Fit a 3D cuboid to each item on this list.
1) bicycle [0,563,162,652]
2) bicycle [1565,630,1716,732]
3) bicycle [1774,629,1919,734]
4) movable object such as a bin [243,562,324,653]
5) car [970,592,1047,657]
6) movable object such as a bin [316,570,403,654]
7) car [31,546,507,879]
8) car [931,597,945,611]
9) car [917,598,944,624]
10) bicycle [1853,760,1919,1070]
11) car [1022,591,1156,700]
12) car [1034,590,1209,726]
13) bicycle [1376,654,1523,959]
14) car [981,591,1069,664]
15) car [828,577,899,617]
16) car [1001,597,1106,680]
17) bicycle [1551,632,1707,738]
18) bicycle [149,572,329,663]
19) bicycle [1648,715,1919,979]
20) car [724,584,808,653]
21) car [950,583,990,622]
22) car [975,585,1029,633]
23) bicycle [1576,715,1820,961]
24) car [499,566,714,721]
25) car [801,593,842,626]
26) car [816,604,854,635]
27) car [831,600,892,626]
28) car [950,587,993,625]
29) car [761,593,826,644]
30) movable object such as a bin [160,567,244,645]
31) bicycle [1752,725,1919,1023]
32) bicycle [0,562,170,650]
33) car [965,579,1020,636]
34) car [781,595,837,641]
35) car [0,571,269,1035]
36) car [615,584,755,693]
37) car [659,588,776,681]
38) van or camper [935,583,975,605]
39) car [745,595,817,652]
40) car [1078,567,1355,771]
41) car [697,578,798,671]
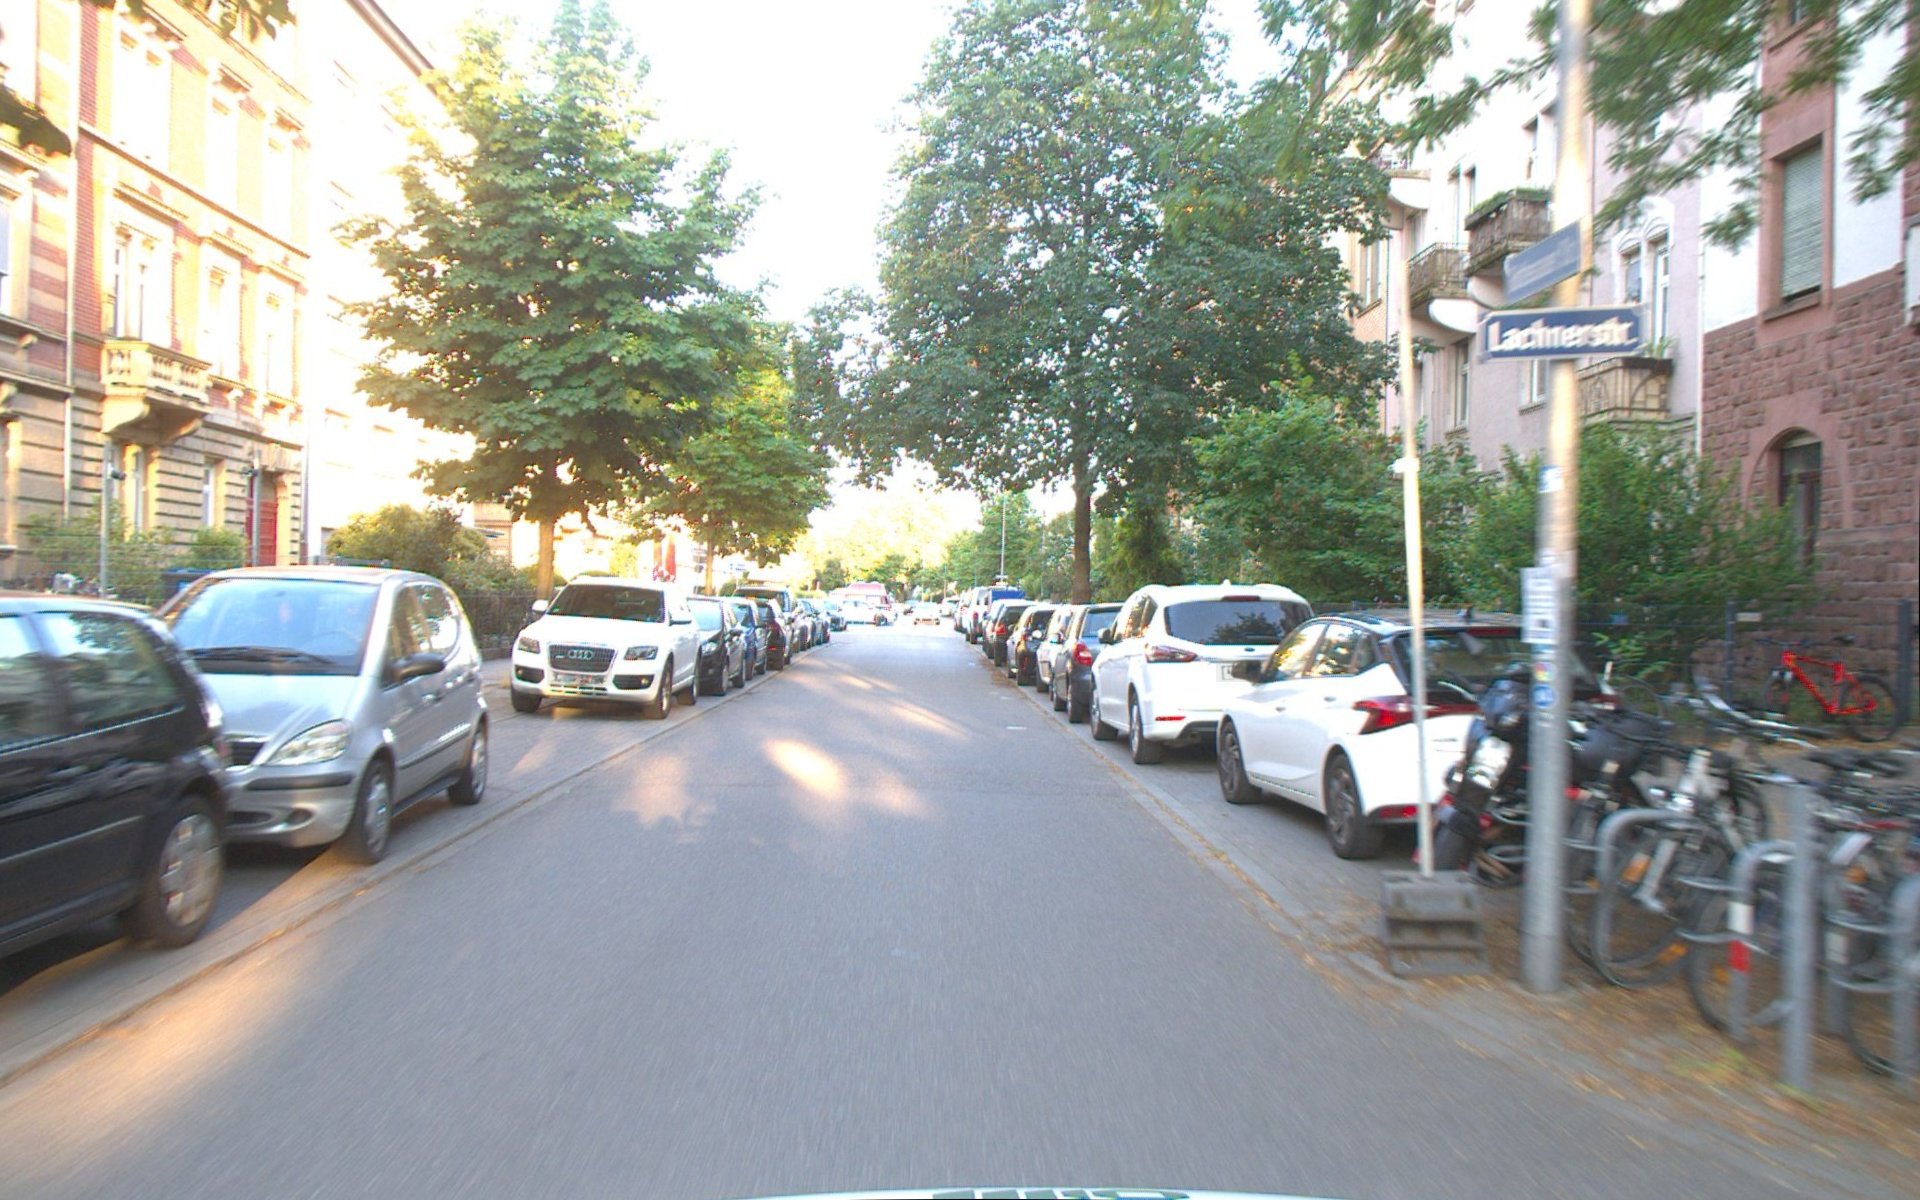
[{"bbox_3d":[-13.954,0.111,25.871,2.484,1.212,0.641,4,0,-12],"label":"bicycle"},{"bbox_3d":[7.175,0.849,17.458,1.479,1.052,0.330,0,1,-4],"label":"bicycle"},{"bbox_3d":[9.227,0.838,17.106,1.479,1.052,0.330,0,1,-4],"label":"bicycle"},{"bbox_3d":[-11.401,0.124,27.913,1.078,1.439,1.001,3,1,-15],"label":"movable object such as a bin"},{"bbox_3d":[1.243,0.633,44.183,1.653,1.634,3.936,2,0,-4],"label":"car"},{"bbox_3d":[-10.195,0.188,28.116,0.992,1.344,1.005,3,1,3],"label":"movable object such as a bin"},{"bbox_3d":[-3.948,0.552,10.118,1.564,1.631,3.741,2,0,-5],"label":"car"},{"bbox_3d":[-2.676,0.425,199.298,1.681,1.624,3.482,2,0,-2],"label":"car"},{"bbox_3d":[-2.010,0.733,111.925,1.776,1.624,3.482,2,0,-2],"label":"car"},{"bbox_3d":[3.687,1.051,5.696,1.205,0.980,0.329,0,1,-19],"label":"bicycle"},{"bbox_3d":[2.064,0.708,27.460,1.653,1.634,3.745,2,0,-4],"label":"car"},{"bbox_3d":[2.077,0.722,22.408,1.653,1.634,4.206,2,0,-4],"label":"car"},{"bbox_3d":[2.274,0.870,7.583,0.434,1.193,1.635,1,0,23],"label":"bicycle"},{"bbox_3d":[1.521,0.638,39.966,1.653,1.634,3.936,2,0,-4],"label":"car"},{"bbox_3d":[-5.960,-0.204,102.435,4.263,2.358,1.744,2,0,-3],"label":"car"},{"bbox_3d":[1.739,0.701,31.881,1.653,1.466,4.208,-1,0,-2],"label":"car"},{"bbox_3d":[6.847,0.865,16.935,1.479,1.052,0.330,0,1,-4],"label":"bicycle"},{"bbox_3d":[-11.164,0.265,25.640,2.476,1.212,0.644,4,0,4],"label":"bicycle"},{"bbox_3d":[3.404,0.980,6.780,1.208,0.964,0.328,0,1,-24],"label":"bicycle"},{"bbox_3d":[-4.920,0.442,42.472,1.681,1.624,4.517,2,0,-2],"label":"car"},{"bbox_3d":[0.468,0.120,80.651,1.653,1.843,3.936,2,0,-4],"label":"car"},{"bbox_3d":[1.408,0.291,56.453,1.508,1.548,3.429,2,0,-4],"label":"car"},{"bbox_3d":[3.308,1.032,7.392,1.211,0.968,0.327,0,1,-30],"label":"bicycle"},{"bbox_3d":[-4.414,0.486,21.328,1.882,1.747,4.426,2,0,-2],"label":"car"},{"bbox_3d":[-6.636,0.457,79.530,1.681,1.512,3.629,2,-1,-1],"label":"car"},{"bbox_3d":[-6.392,0.999,85.110,1.681,1.466,3.630,2,0,-1],"label":"car"},{"bbox_3d":[-5.950,0.776,99.701,3.548,1.487,1.605,2,0,-5],"label":"car"},{"bbox_3d":[0.488,0.260,75.727,1.653,1.634,3.936,2,0,-4],"label":"car"},{"bbox_3d":[-5.130,0.557,51.338,1.681,1.466,3.629,2,0,-2],"label":"car"},{"bbox_3d":[-12.905,0.091,28.201,1.078,1.230,1.001,3,1,-15],"label":"movable object such as a bin"},{"bbox_3d":[3.491,0.968,6.082,1.208,0.974,0.328,0,1,-24],"label":"bicycle"},{"bbox_3d":[-14.062,0.096,26.382,2.484,1.212,0.641,4,0,-12],"label":"bicycle"},{"bbox_3d":[1.147,0.259,60.216,1.647,1.975,3.877,2,0,-4],"label":"car"},{"bbox_3d":[-5.194,0.592,57.303,1.566,1.466,3.837,2,0,-1],"label":"car"},{"bbox_3d":[-3.895,0.644,5.320,1.583,1.496,3.962,2,0,1],"label":"car"},{"bbox_3d":[-4.350,0.591,26.642,1.681,1.594,3.780,2,-1,-2],"label":"car"},{"bbox_3d":[-4.497,0.603,31.112,1.681,1.593,3.787,2,0,-2],"label":"car"},{"bbox_3d":[-0.729,-0.801,223.840,5.171,2.840,1.547,2,0,-13],"label":"van or camper"},{"bbox_3d":[-5.043,0.630,47.037,1.681,1.490,3.986,2,0,-2],"label":"car"},{"bbox_3d":[2.391,0.608,16.615,1.762,1.741,4.597,1,0,-4],"label":"car"},{"bbox_3d":[-4.468,0.478,35.271,1.681,1.821,4.214,2,0,-2],"label":"car"}]
